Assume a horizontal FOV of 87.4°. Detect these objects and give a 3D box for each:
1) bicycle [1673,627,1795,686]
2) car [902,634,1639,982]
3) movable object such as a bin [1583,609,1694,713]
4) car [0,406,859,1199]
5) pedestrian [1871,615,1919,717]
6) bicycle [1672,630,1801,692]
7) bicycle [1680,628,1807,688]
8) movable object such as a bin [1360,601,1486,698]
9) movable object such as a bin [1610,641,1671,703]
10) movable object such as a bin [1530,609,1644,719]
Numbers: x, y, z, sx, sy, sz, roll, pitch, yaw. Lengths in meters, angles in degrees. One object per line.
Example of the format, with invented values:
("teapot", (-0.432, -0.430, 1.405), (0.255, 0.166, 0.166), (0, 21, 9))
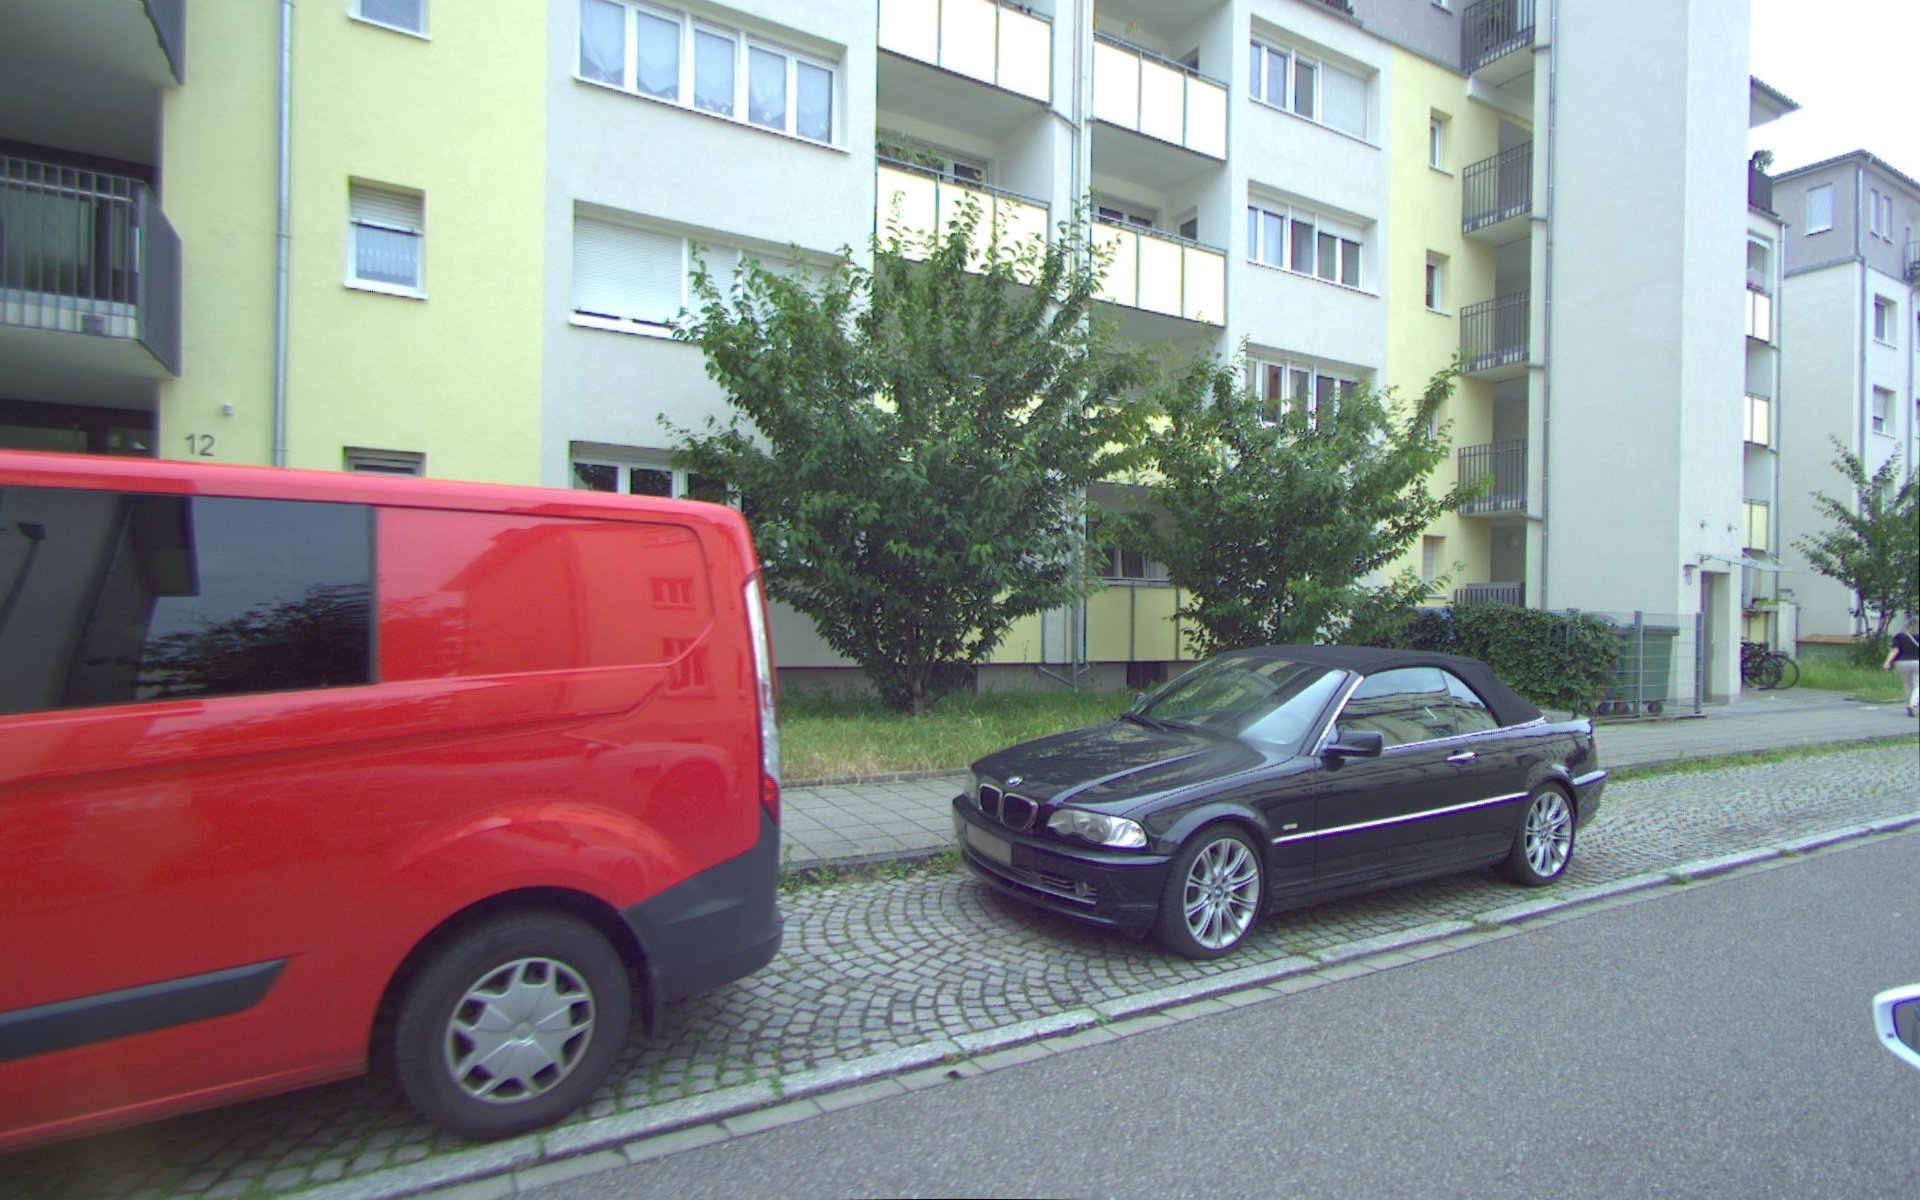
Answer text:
("bicycle", (16.807, 1.202, 21.870), (0.616, 1.157, 2.011), (1, 0, -32))
("car", (1.992, 0.927, 6.066), (4.312, 1.341, 1.860), (1, 1, -32))
("movable object such as a bin", (9.954, 0.875, 14.743), (1.271, 1.448, 0.801), (1, 1, -26))
("car", (-2.976, 0.518, 3.004), (4.868, 1.980, 2.139), (1, 1, -33))
("pedestrian", (15.686, 1.072, 16.550), (0.937, 1.631, 0.794), (1, 0, -34))
("bicycle", (15.847, 1.209, 20.553), (0.618, 1.157, 2.006), (1, 0, -39))
("bicycle", (16.318, 1.179, 20.973), (0.618, 1.157, 2.006), (1, 0, -39))
("movable object such as a bin", (7.613, 0.782, 16.548), (1.356, 1.484, 1.345), (1, 1, -31))
("movable object such as a bin", (11.442, 1.198, 16.901), (0.644, 0.978, 0.633), (1, 0, -30))
("movable object such as a bin", (8.807, 0.875, 14.118), (1.271, 1.448, 0.800), (1, 1, -27))
